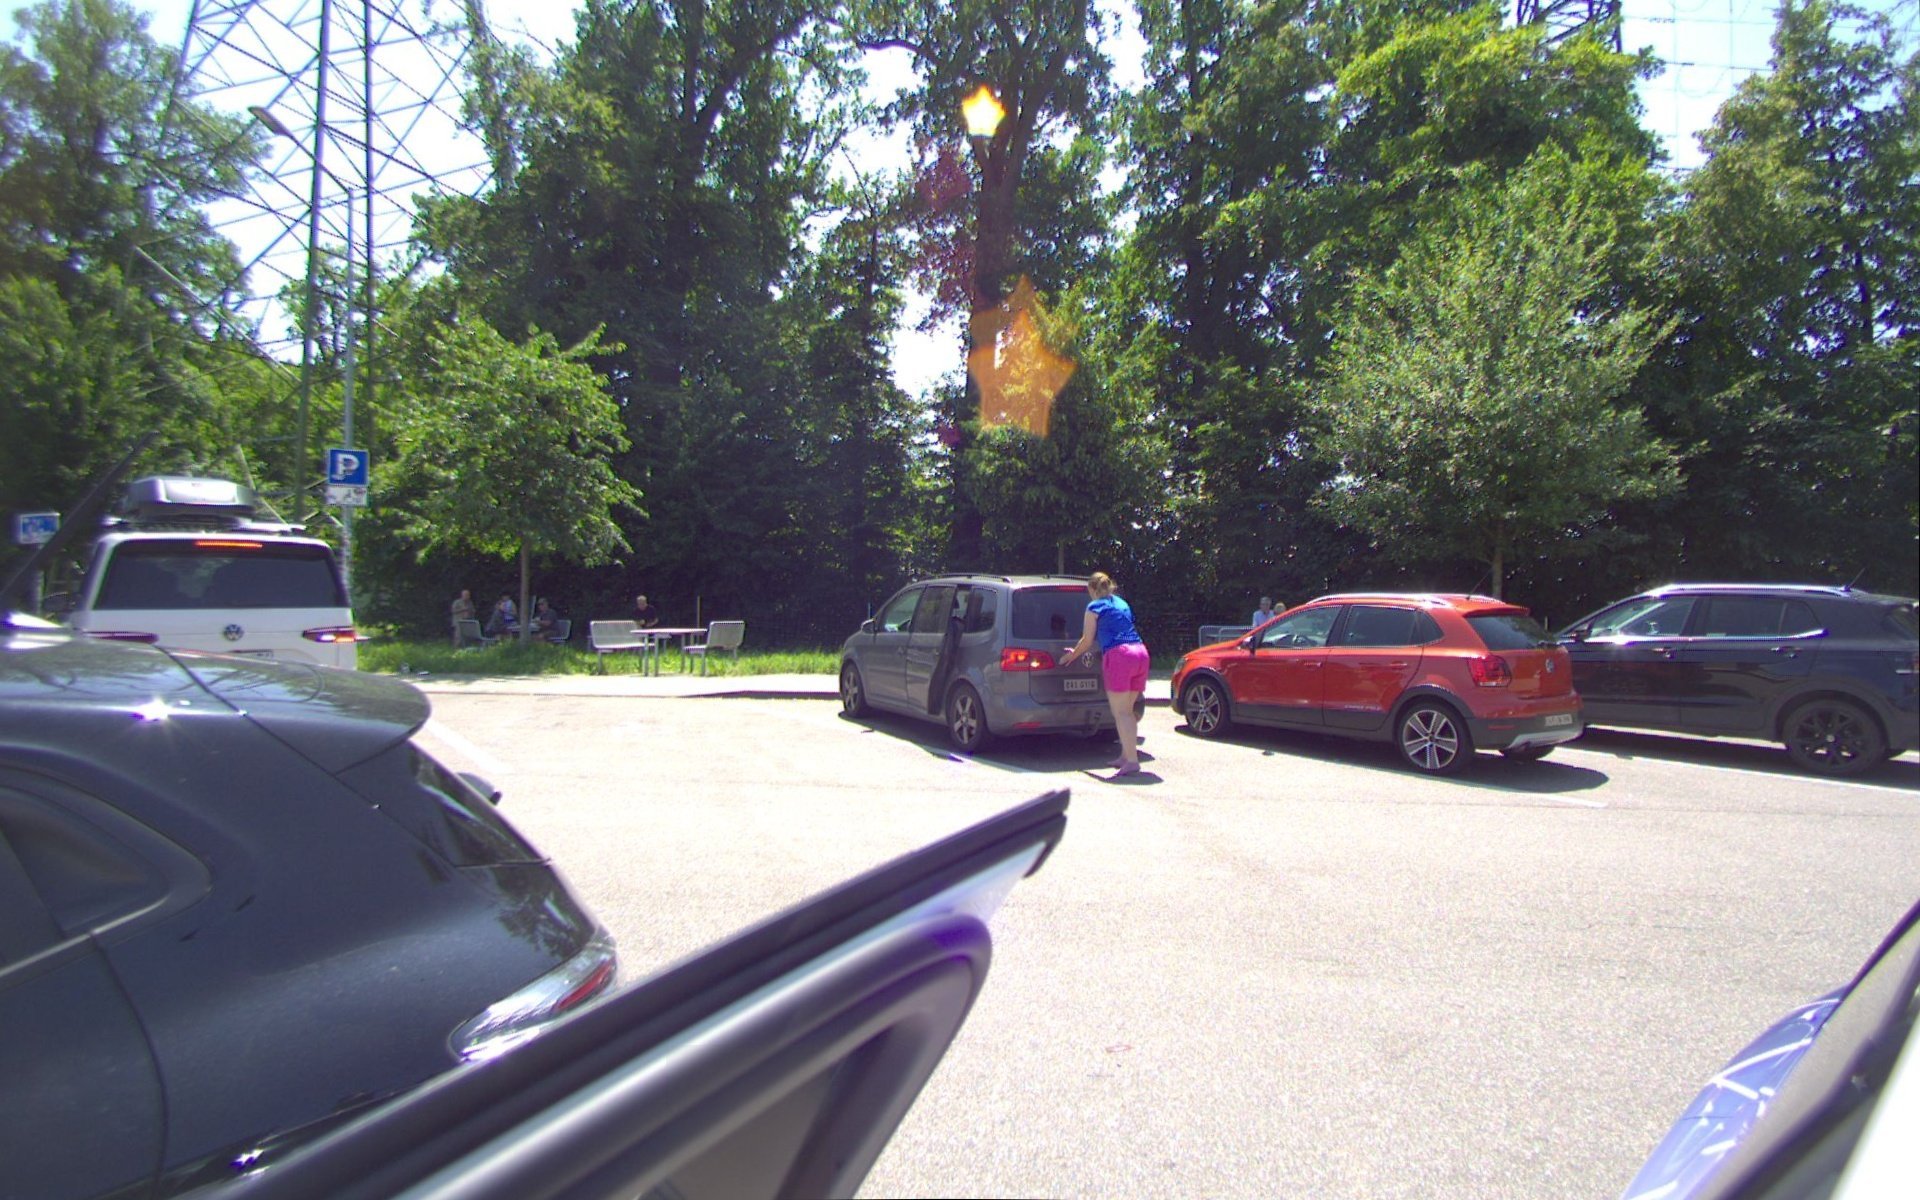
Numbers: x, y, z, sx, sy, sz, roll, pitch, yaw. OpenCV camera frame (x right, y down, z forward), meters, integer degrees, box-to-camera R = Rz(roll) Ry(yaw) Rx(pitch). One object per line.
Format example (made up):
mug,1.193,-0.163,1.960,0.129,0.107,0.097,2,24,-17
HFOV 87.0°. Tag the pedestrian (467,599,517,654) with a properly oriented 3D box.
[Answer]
pedestrian,-10.524,0.584,22.766,0.873,1.192,0.668,0,0,-41

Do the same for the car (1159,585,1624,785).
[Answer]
car,3.847,0.610,9.644,1.687,1.484,3.793,0,1,-32

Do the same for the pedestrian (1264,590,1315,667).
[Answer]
pedestrian,5.774,0.486,17.754,0.657,1.311,0.783,0,0,3

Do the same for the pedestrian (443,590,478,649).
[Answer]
pedestrian,-12.299,0.459,24.914,0.657,1.422,0.649,0,0,-39

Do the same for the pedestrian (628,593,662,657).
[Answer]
pedestrian,-6.608,0.519,21.260,0.655,1.311,0.786,0,0,-16

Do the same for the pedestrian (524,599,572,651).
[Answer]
pedestrian,-9.608,0.572,23.620,0.873,1.192,0.668,0,0,-41

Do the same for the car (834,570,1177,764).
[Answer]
car,0.247,0.516,10.513,1.713,1.601,3.996,0,1,-29

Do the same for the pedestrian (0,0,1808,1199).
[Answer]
pedestrian,-0.088,0.541,0.502,0.874,1.865,0.621,0,0,-38

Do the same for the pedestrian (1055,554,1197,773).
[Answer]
pedestrian,1.371,0.487,8.416,0.902,1.703,0.734,0,0,-31

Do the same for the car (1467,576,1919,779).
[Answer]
car,7.174,0.575,9.703,1.690,1.593,3.787,0,1,-39

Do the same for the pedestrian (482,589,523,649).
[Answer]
pedestrian,-11.059,0.458,24.478,0.664,1.422,0.643,0,0,32

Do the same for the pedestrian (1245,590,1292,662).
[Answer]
pedestrian,5.779,0.475,18.969,0.657,1.311,0.783,0,0,3

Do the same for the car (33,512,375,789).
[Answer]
car,-7.141,0.313,9.354,4.550,1.936,1.881,1,1,45

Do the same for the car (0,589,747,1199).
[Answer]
car,-2.209,0.720,0.594,1.737,1.501,3.757,0,0,44
